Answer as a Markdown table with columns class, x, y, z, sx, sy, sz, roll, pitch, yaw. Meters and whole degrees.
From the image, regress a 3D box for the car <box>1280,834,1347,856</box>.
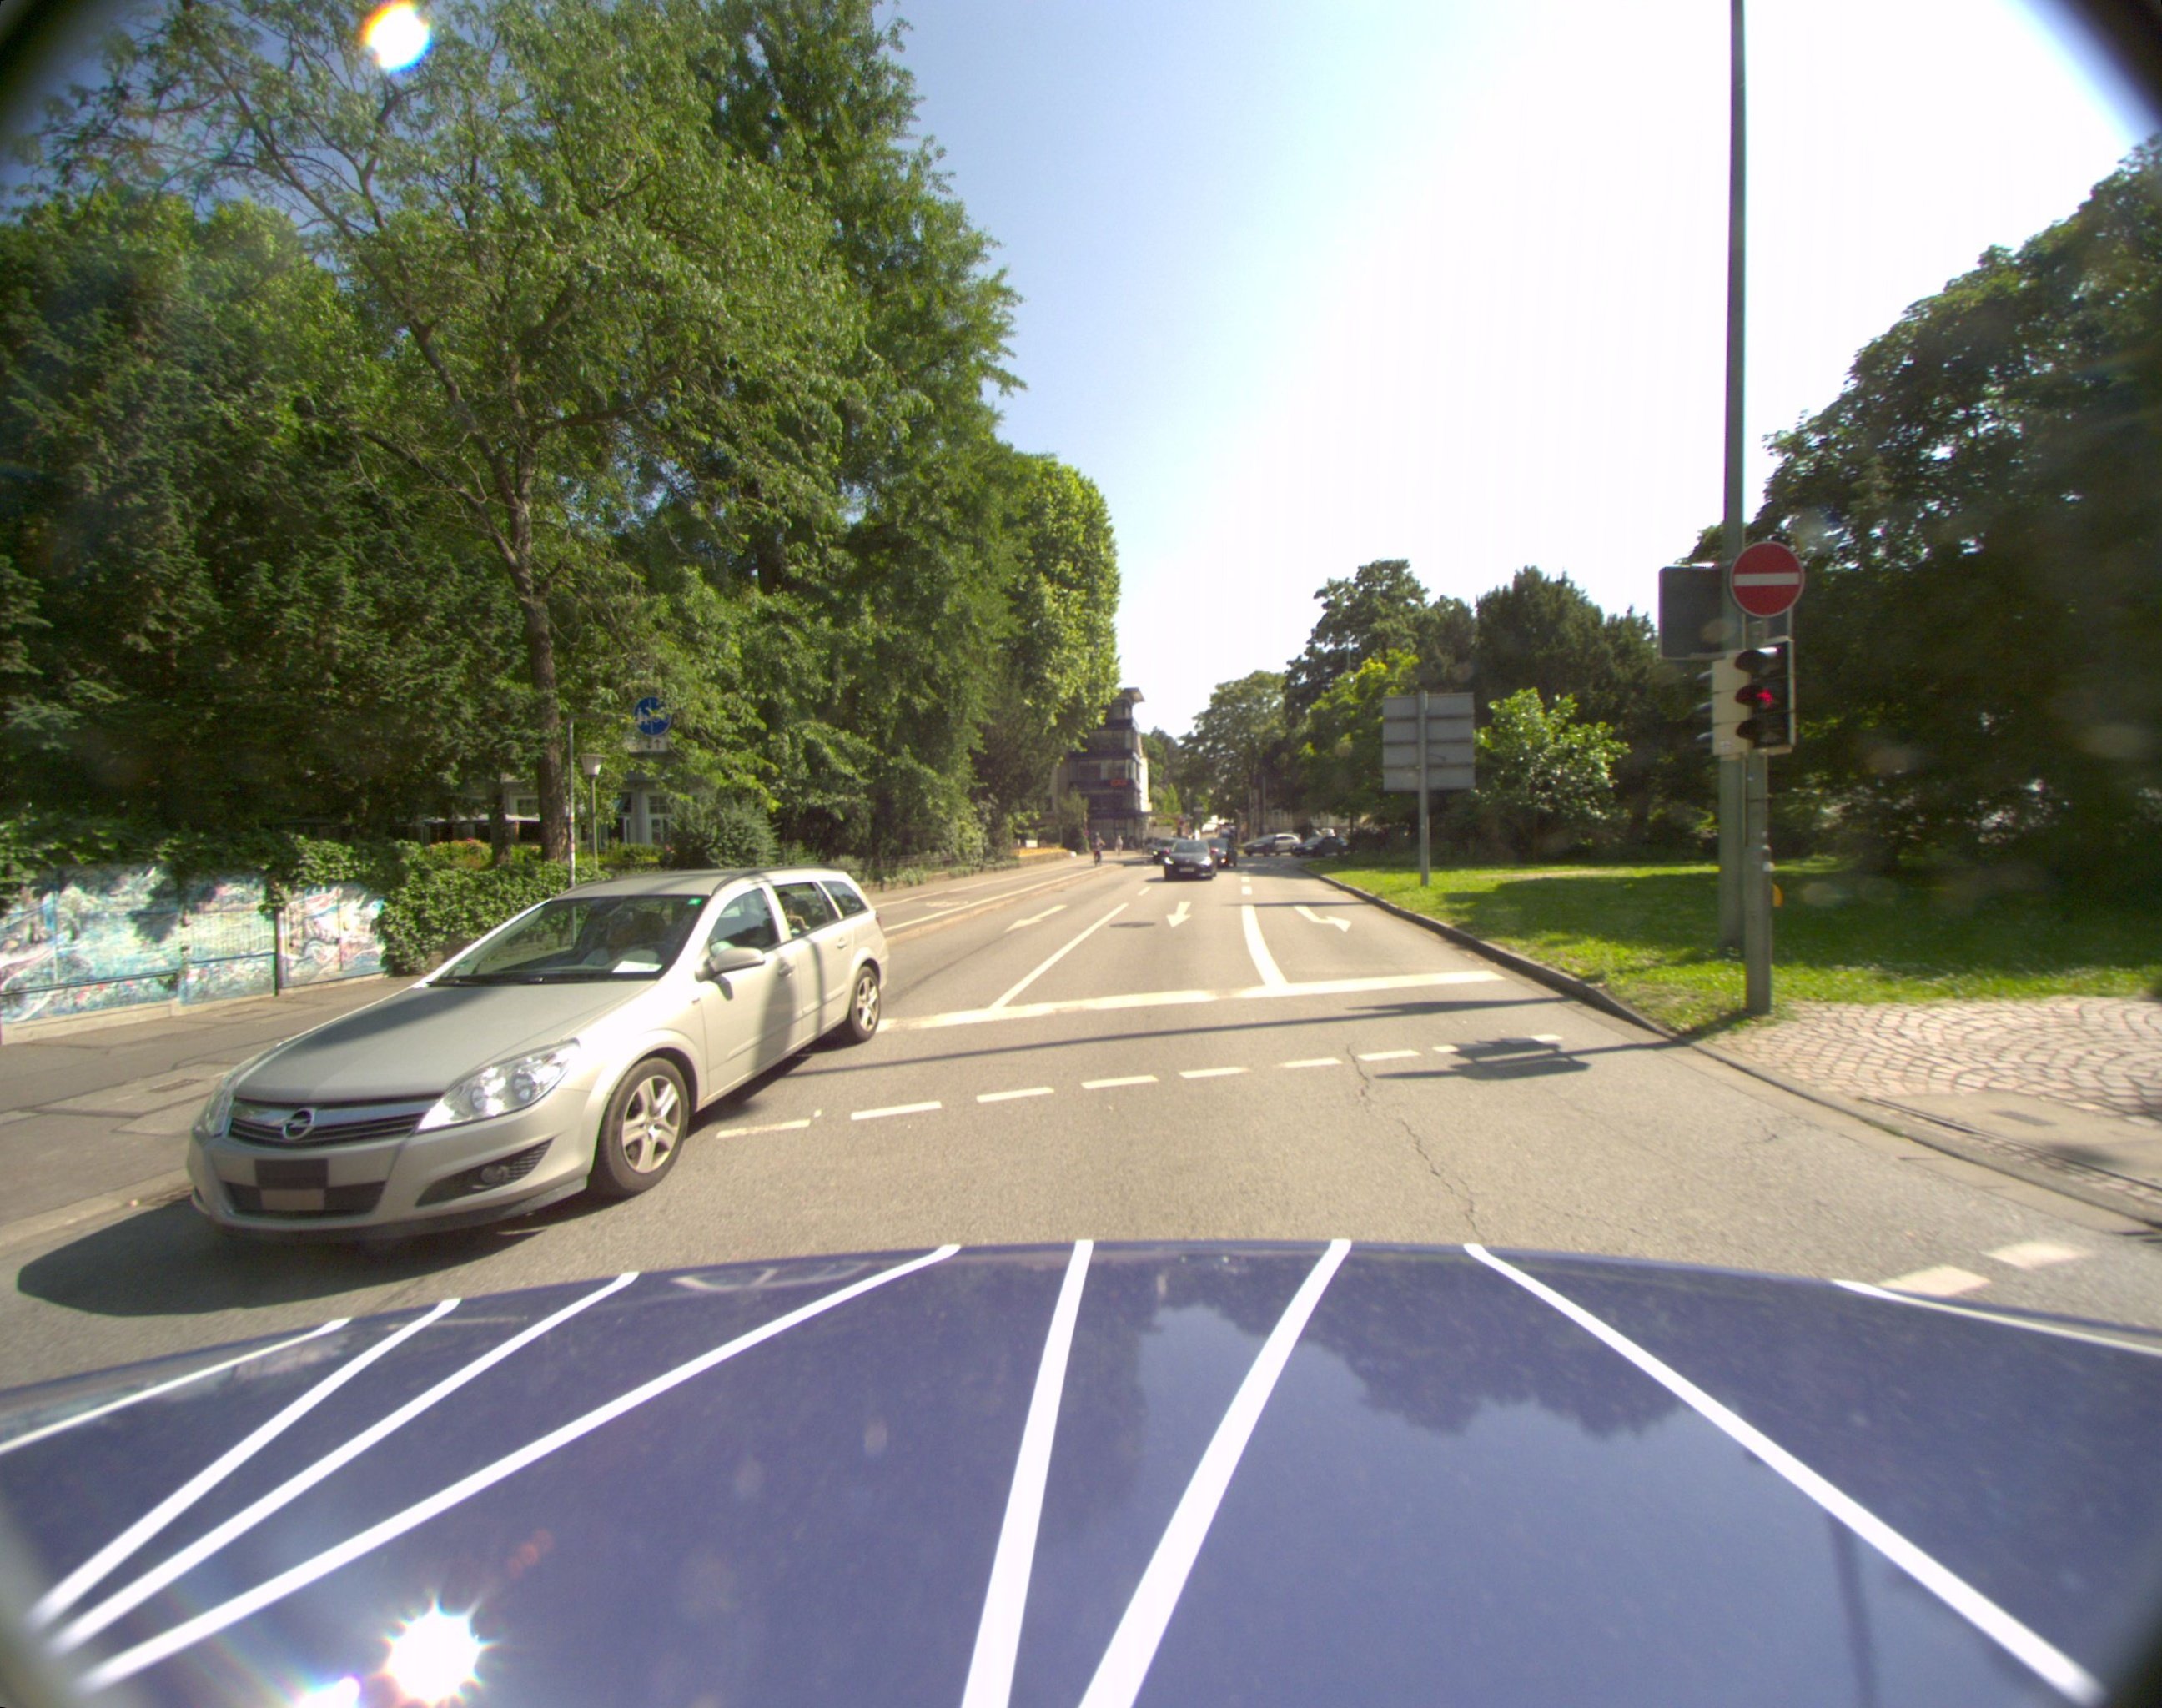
| class | x | y | z | sx | sy | sz | roll | pitch | yaw |
| --- | --- | --- | --- | --- | --- | --- | --- | --- | --- |
| car | 16.112 | -0.612 | 52.631 | 4.557 | 1.421 | 1.938 | -1 | 1 | -32 |

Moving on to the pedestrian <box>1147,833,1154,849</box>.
| class | x | y | z | sx | sy | sz | roll | pitch | yaw |
| --- | --- | --- | --- | --- | --- | --- | --- | --- | --- |
| pedestrian | 7.722 | -1.436 | 84.195 | 0.601 | 1.695 | 0.605 | -1 | 2 | 15 |

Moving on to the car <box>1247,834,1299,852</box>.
| class | x | y | z | sx | sy | sz | roll | pitch | yaw |
| --- | --- | --- | --- | --- | --- | --- | --- | --- | --- |
| car | 17.614 | -1.018 | 69.754 | 4.414 | 1.545 | 1.685 | -2 | 1 | 4 |

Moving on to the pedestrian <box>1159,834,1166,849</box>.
| class | x | y | z | sx | sy | sz | roll | pitch | yaw |
| --- | --- | --- | --- | --- | --- | --- | --- | --- | --- |
| pedestrian | 9.179 | -1.407 | 85.316 | 0.601 | 1.695 | 0.605 | -1 | 2 | 15 |

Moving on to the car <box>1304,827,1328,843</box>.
| class | x | y | z | sx | sy | sz | roll | pitch | yaw |
| --- | --- | --- | --- | --- | --- | --- | --- | --- | --- |
| car | 26.617 | -2.156 | 86.092 | 1.849 | 1.652 | 4.001 | -1 | 1 | 7 |

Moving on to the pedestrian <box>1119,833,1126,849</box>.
| class | x | y | z | sx | sy | sz | roll | pitch | yaw |
| --- | --- | --- | --- | --- | --- | --- | --- | --- | --- |
| pedestrian | 4.493 | -1.441 | 82.192 | 0.603 | 1.695 | 0.690 | -1 | 1 | 9 |

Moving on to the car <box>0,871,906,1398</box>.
| class | x | y | z | sx | sy | sz | roll | pitch | yaw |
| --- | --- | --- | --- | --- | --- | --- | --- | --- | --- |
| car | -2.739 | 0.962 | 4.700 | 1.710 | 1.513 | 4.409 | -1 | 1 | 8 |

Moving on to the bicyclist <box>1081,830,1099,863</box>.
| class | x | y | z | sx | sy | sz | roll | pitch | yaw |
| --- | --- | --- | --- | --- | --- | --- | --- | --- | --- |
| bicyclist | 0.446 | -0.375 | 37.753 | 0.765 | 1.627 | 0.944 | 0 | 2 | 9 |

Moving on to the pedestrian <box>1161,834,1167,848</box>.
| class | x | y | z | sx | sy | sz | roll | pitch | yaw |
| --- | --- | --- | --- | --- | --- | --- | --- | --- | --- |
| pedestrian | 10.008 | -1.539 | 91.539 | 0.601 | 1.695 | 0.604 | -1 | 2 | 10 |

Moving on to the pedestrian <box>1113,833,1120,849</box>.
| class | x | y | z | sx | sy | sz | roll | pitch | yaw |
| --- | --- | --- | --- | --- | --- | --- | --- | --- | --- |
| pedestrian | 3.769 | -1.397 | 80.826 | 0.653 | 1.695 | 0.646 | -1 | 2 | 7 |

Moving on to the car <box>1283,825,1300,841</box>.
| class | x | y | z | sx | sy | sz | roll | pitch | yaw |
| --- | --- | --- | --- | --- | --- | --- | --- | --- | --- |
| car | 26.647 | -2.673 | 96.241 | 1.848 | 2.002 | 4.003 | -1 | 1 | 13 |

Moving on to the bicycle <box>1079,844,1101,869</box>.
| class | x | y | z | sx | sy | sz | roll | pitch | yaw |
| --- | --- | --- | --- | --- | --- | --- | --- | --- | --- |
| bicycle | 0.459 | 0.107 | 37.682 | 0.759 | 1.114 | 2.002 | 0 | 3 | 9 |

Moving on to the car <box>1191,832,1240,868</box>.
| class | x | y | z | sx | sy | sz | roll | pitch | yaw |
| --- | --- | --- | --- | --- | --- | --- | --- | --- | --- |
| car | 6.878 | -0.258 | 38.543 | 1.887 | 1.675 | 4.146 | 1 | 3 | 18 |

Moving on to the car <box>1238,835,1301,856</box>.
| class | x | y | z | sx | sy | sz | roll | pitch | yaw |
| --- | --- | --- | --- | --- | --- | --- | --- | --- | --- |
| car | 13.895 | -0.656 | 55.900 | 4.557 | 1.421 | 1.938 | -2 | 2 | -33 |

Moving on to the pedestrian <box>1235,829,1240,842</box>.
| class | x | y | z | sx | sy | sz | roll | pitch | yaw |
| --- | --- | --- | --- | --- | --- | --- | --- | --- | --- |
| pedestrian | 21.827 | -2.593 | 106.034 | 0.601 | 1.695 | 0.604 | -1 | 2 | 10 |

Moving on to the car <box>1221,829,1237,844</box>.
| class | x | y | z | sx | sy | sz | roll | pitch | yaw |
| --- | --- | --- | --- | --- | --- | --- | --- | --- | --- |
| car | 18.994 | -2.240 | 97.548 | 1.849 | 1.777 | 4.002 | -1 | 1 | 10 |

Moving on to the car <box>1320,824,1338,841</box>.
| class | x | y | z | sx | sy | sz | roll | pitch | yaw |
| --- | --- | --- | --- | --- | --- | --- | --- | --- | --- |
| car | 31.621 | -2.741 | 96.856 | 1.848 | 2.002 | 4.003 | -1 | 1 | 13 |

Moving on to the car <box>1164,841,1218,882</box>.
| class | x | y | z | sx | sy | sz | roll | pitch | yaw |
| --- | --- | --- | --- | --- | --- | --- | --- | --- | --- |
| car | 4.197 | 0.241 | 28.570 | 1.809 | 1.443 | 3.957 | 0 | 1 | 11 |

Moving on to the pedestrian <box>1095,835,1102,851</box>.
| class | x | y | z | sx | sy | sz | roll | pitch | yaw |
| --- | --- | --- | --- | --- | --- | --- | --- | --- | --- |
| pedestrian | 1.882 | -1.161 | 81.319 | 0.689 | 1.695 | 0.603 | -1 | 2 | 8 |

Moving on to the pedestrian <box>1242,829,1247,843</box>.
| class | x | y | z | sx | sy | sz | roll | pitch | yaw |
| --- | --- | --- | --- | --- | --- | --- | --- | --- | --- |
| pedestrian | 20.554 | -2.223 | 95.427 | 0.602 | 1.695 | 0.604 | -1 | 2 | 7 |

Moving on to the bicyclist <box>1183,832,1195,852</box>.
| class | x | y | z | sx | sy | sz | roll | pitch | yaw |
| --- | --- | --- | --- | --- | --- | --- | --- | --- | --- |
| bicyclist | 8.796 | -1.003 | 61.700 | 0.709 | 1.604 | 0.733 | 0 | 2 | 27 |

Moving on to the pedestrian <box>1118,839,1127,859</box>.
| class | x | y | z | sx | sy | sz | roll | pitch | yaw |
| --- | --- | --- | --- | --- | --- | --- | --- | --- | --- |
| pedestrian | 3.569 | -0.443 | 64.939 | 0.710 | 1.663 | 0.535 | -1 | 2 | 7 |

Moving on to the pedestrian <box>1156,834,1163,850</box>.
| class | x | y | z | sx | sy | sz | roll | pitch | yaw |
| --- | --- | --- | --- | --- | --- | --- | --- | --- | --- |
| pedestrian | 8.811 | -1.336 | 85.325 | 0.601 | 1.695 | 0.605 | -1 | 2 | 15 |

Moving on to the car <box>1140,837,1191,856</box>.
| class | x | y | z | sx | sy | sz | roll | pitch | yaw |
| --- | --- | --- | --- | --- | --- | --- | --- | --- | --- |
| car | 7.527 | -0.637 | 67.714 | 4.414 | 1.545 | 1.685 | -2 | 1 | 4 |

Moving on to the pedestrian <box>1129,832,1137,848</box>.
| class | x | y | z | sx | sy | sz | roll | pitch | yaw |
| --- | --- | --- | --- | --- | --- | --- | --- | --- | --- |
| pedestrian | 5.573 | -1.452 | 80.938 | 0.701 | 1.695 | 0.603 | -1 | 2 | 11 |

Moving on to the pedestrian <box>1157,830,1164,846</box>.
| class | x | y | z | sx | sy | sz | roll | pitch | yaw |
| --- | --- | --- | --- | --- | --- | --- | --- | --- | --- |
| pedestrian | 8.775 | -1.785 | 84.116 | 0.601 | 1.695 | 0.605 | -1 | 2 | 15 |
